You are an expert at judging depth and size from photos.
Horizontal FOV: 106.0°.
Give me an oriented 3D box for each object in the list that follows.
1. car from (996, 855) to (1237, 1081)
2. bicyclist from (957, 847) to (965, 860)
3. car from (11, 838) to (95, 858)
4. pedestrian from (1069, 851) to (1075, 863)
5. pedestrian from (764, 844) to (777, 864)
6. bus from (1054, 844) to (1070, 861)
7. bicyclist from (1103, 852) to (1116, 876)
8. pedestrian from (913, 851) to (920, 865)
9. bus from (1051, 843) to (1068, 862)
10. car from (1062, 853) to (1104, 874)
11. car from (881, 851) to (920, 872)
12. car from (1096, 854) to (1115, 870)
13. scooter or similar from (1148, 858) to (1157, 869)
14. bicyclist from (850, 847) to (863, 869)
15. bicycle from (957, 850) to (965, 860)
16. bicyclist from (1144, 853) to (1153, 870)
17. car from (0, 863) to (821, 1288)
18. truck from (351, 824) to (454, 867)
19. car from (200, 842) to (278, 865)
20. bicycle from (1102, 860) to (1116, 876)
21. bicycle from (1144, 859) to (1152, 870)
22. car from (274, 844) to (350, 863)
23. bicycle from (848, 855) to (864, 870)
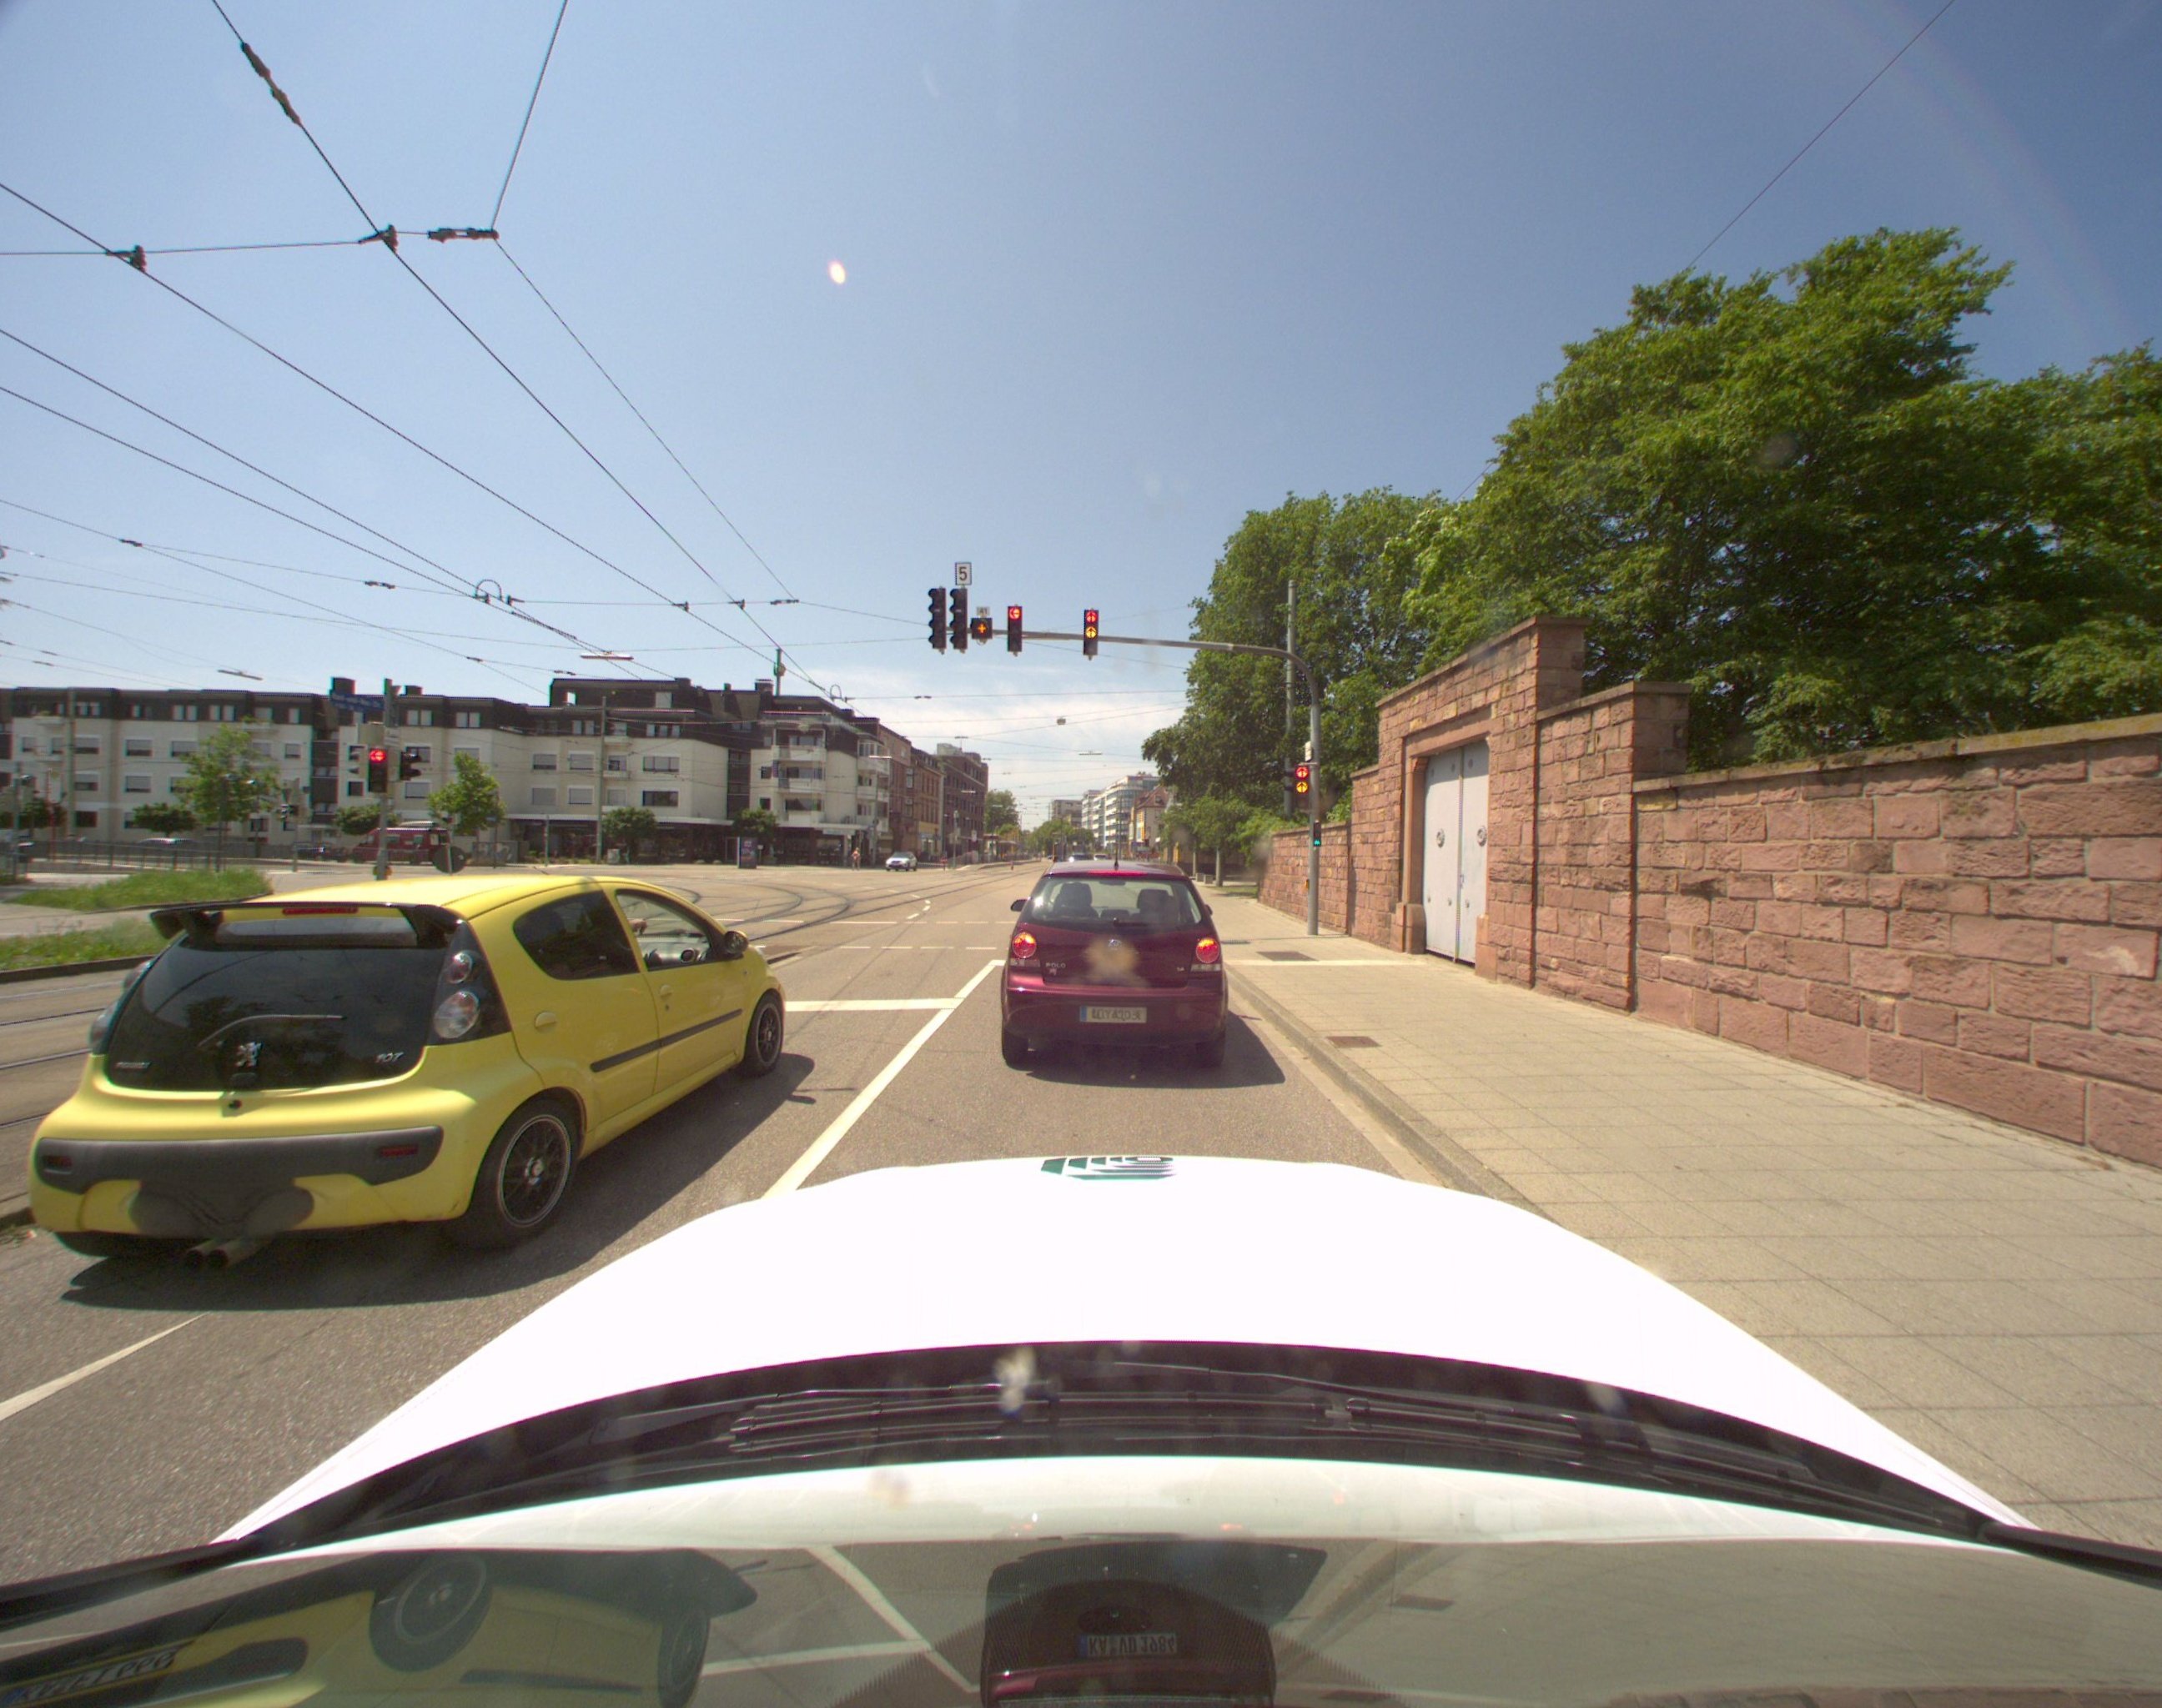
[{"bbox_3d":[0.256,0.748,6.851,1.556,1.453,3.062,1,0,1],"label":"car"},{"bbox_3d":[-15.508,-0.069,105.474,0.729,1.762,1.136,1,0,3],"label":"bicyclist"},{"bbox_3d":[-67.864,-0.381,53.810,3.556,1.240,1.591,1,0,2],"label":"car"},{"bbox_3d":[-1.183,0.428,110.505,0.760,1.674,1.101,1,0,2],"label":"pedestrian"},{"bbox_3d":[-26.567,-0.005,69.628,0.693,1.696,0.812,1,-1,44],"label":"pedestrian"},{"bbox_3d":[-3.285,-0.227,143.677,2.223,3.003,6.600,1,0,3],"label":"bus"},{"bbox_3d":[2.186,0.747,61.987,0.721,1.760,0.929,1,0,21],"label":"bicyclist"},{"bbox_3d":[-18.380,0.451,91.083,0.612,1.560,0.640,1,0,1],"label":"pedestrian"},{"bbox_3d":[-3.573,-0.278,137.103,2.135,3.003,6.579,1,0,3],"label":"bus"},{"bbox_3d":[0.189,0.738,64.525,1.978,1.624,4.652,1,0,18],"label":"car"},{"bbox_3d":[-14.191,0.587,64.365,1.986,1.553,4.141,1,0,2],"label":"car"},{"bbox_3d":[2.464,0.799,81.612,1.816,1.530,4.002,1,0,2],"label":"car"},{"bbox_3d":[7.407,0.975,84.243,0.340,1.178,1.457,1,0,-22],"label":"scooter or similar"},{"bbox_3d":[-17.964,0.319,65.188,0.692,1.765,1.137,1,1,0],"label":"bicyclist"},{"bbox_3d":[-15.519,0.159,105.416,0.674,1.304,2.106,1,0,3],"label":"bicycle"},{"bbox_3d":[6.935,0.779,83.420,0.829,1.618,0.860,-3,1,2],"label":"bicyclist"},{"bbox_3d":[-2.920,0.785,4.657,1.610,1.421,3.656,-1,-1,1],"label":"car"},{"bbox_3d":[-45.228,-0.559,54.338,5.007,2.698,2.188,1,0,1],"label":"truck"},{"bbox_3d":[-56.059,-0.024,54.239,3.556,1.433,1.591,1,0,2],"label":"car"},{"bbox_3d":[2.126,1.039,61.689,0.372,1.197,1.915,1,0,21],"label":"bicycle"},{"bbox_3d":[6.878,1.084,83.281,0.665,1.002,1.865,-3,0,3],"label":"bicycle"},{"bbox_3d":[-51.427,-0.013,54.480,3.556,1.219,1.591,1,0,2],"label":"car"},{"bbox_3d":[-17.980,0.643,65.084,0.692,1.149,1.932,1,1,1],"label":"bicycle"}]
